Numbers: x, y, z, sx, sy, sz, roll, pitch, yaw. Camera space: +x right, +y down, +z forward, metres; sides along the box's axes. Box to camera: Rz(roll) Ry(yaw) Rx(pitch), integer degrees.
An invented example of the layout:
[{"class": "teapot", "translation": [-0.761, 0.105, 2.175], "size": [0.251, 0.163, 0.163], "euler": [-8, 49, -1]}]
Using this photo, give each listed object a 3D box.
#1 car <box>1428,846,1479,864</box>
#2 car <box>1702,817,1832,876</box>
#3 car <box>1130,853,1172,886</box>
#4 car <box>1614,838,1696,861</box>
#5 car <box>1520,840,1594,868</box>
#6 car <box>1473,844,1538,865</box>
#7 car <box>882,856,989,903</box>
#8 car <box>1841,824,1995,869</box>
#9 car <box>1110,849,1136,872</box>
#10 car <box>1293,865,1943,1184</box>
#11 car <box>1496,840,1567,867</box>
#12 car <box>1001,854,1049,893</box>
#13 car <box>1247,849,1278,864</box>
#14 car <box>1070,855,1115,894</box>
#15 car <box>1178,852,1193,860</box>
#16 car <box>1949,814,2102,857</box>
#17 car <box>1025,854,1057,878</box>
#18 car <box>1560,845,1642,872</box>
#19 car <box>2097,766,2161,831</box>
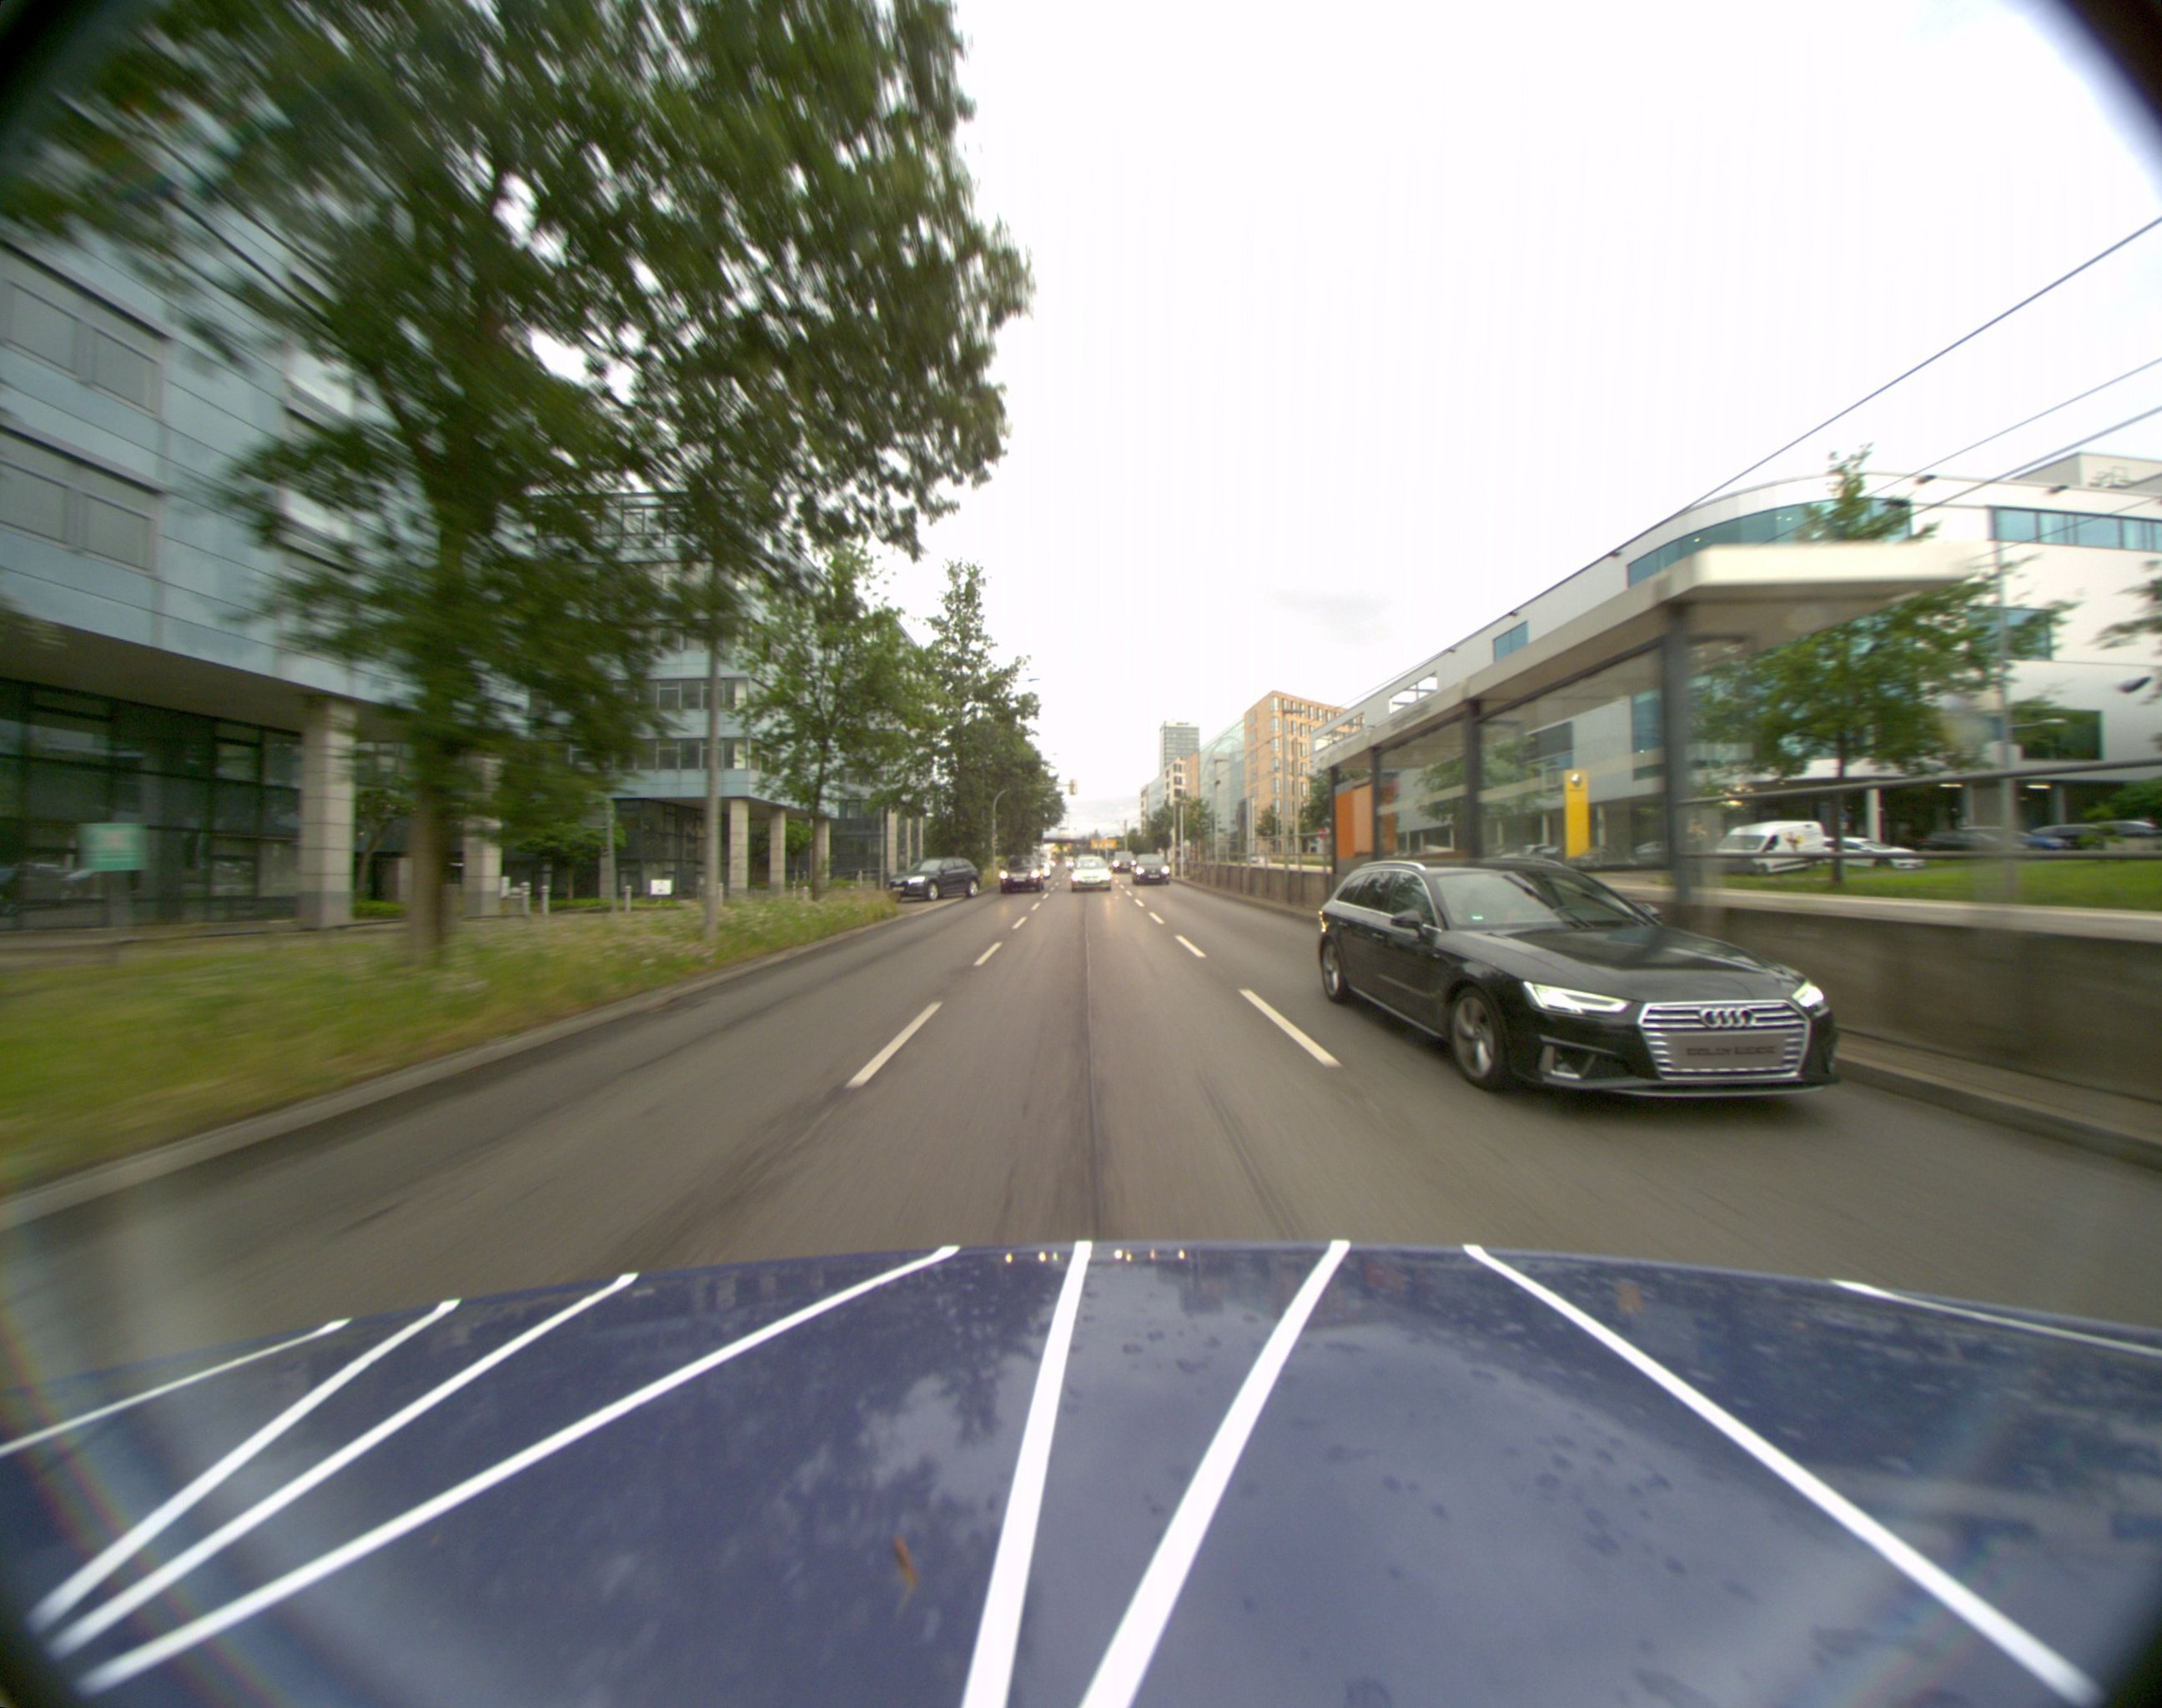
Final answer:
[{"class": "car", "translation": [32.916, 0.117, 67.137], "size": [3.845, 1.482, 1.821], "euler": [-2, 0, -18]}, {"class": "car", "translation": [34.078, -0.382, 37.767], "size": [5.488, 2.614, 2.275], "euler": [-3, 1, -17]}, {"class": "car", "translation": [3.482, 0.745, 38.398], "size": [1.798, 1.493, 4.000], "euler": [-2, 0, 1]}, {"class": "car", "translation": [38.096, -0.279, 50.504], "size": [1.775, 1.460, 3.989], "euler": [-2, 0, -39]}, {"class": "car", "translation": [32.998, -0.002, 52.715], "size": [3.999, 1.652, 1.921], "euler": [-3, 0, -6]}, {"class": "car", "translation": [32.569, 0.050, 58.330], "size": [3.999, 1.482, 1.823], "euler": [-2, 0, -6]}, {"class": "car", "translation": [-5.597, 0.941, 29.800], "size": [1.813, 1.660, 4.378], "euler": [-1, 0, 26]}, {"class": "car", "translation": [41.211, -0.379, 37.488], "size": [5.483, 1.915, 2.278], "euler": [-2, 1, -6]}, {"class": "car", "translation": [3.250, 0.470, 59.553], "size": [1.781, 1.670, 4.131], "euler": [-2, 0, 0]}, {"class": "car", "translation": [3.259, 0.857, 6.071], "size": [1.794, 1.426, 4.828], "euler": [-2, 0, 0]}, {"class": "car", "translation": [32.815, -0.026, 55.383], "size": [3.999, 1.652, 1.921], "euler": [-4, 0, -6]}, {"class": "car", "translation": [-2.516, 0.849, 35.007], "size": [1.816, 1.660, 4.548], "euler": [-2, 0, 0]}, {"class": "car", "translation": [19.033, 0.238, 79.910], "size": [1.998, 1.381, 4.873], "euler": [-2, 1, 0]}, {"class": "car", "translation": [0.489, 0.836, 33.164], "size": [1.803, 1.533, 4.374], "euler": [-2, 0, 0]}, {"class": "car", "translation": [18.890, 0.361, 137.172], "size": [1.998, 1.428, 4.873], "euler": [-2, 1, 0]}, {"class": "car", "translation": [48.316, -0.935, 38.940], "size": [5.483, 1.915, 2.278], "euler": [-2, 1, -6]}, {"class": "car", "translation": [-2.689, 0.811, 51.928], "size": [1.873, 1.533, 4.106], "euler": [-2, 0, 0]}, {"class": "car", "translation": [32.563, 0.267, 47.639], "size": [3.999, 1.499, 1.896], "euler": [-2, 1, -8]}, {"class": "car", "translation": [57.916, -2.997, 39.924], "size": [5.483, 3.253, 2.999], "euler": [-2, 1, -6]}]
